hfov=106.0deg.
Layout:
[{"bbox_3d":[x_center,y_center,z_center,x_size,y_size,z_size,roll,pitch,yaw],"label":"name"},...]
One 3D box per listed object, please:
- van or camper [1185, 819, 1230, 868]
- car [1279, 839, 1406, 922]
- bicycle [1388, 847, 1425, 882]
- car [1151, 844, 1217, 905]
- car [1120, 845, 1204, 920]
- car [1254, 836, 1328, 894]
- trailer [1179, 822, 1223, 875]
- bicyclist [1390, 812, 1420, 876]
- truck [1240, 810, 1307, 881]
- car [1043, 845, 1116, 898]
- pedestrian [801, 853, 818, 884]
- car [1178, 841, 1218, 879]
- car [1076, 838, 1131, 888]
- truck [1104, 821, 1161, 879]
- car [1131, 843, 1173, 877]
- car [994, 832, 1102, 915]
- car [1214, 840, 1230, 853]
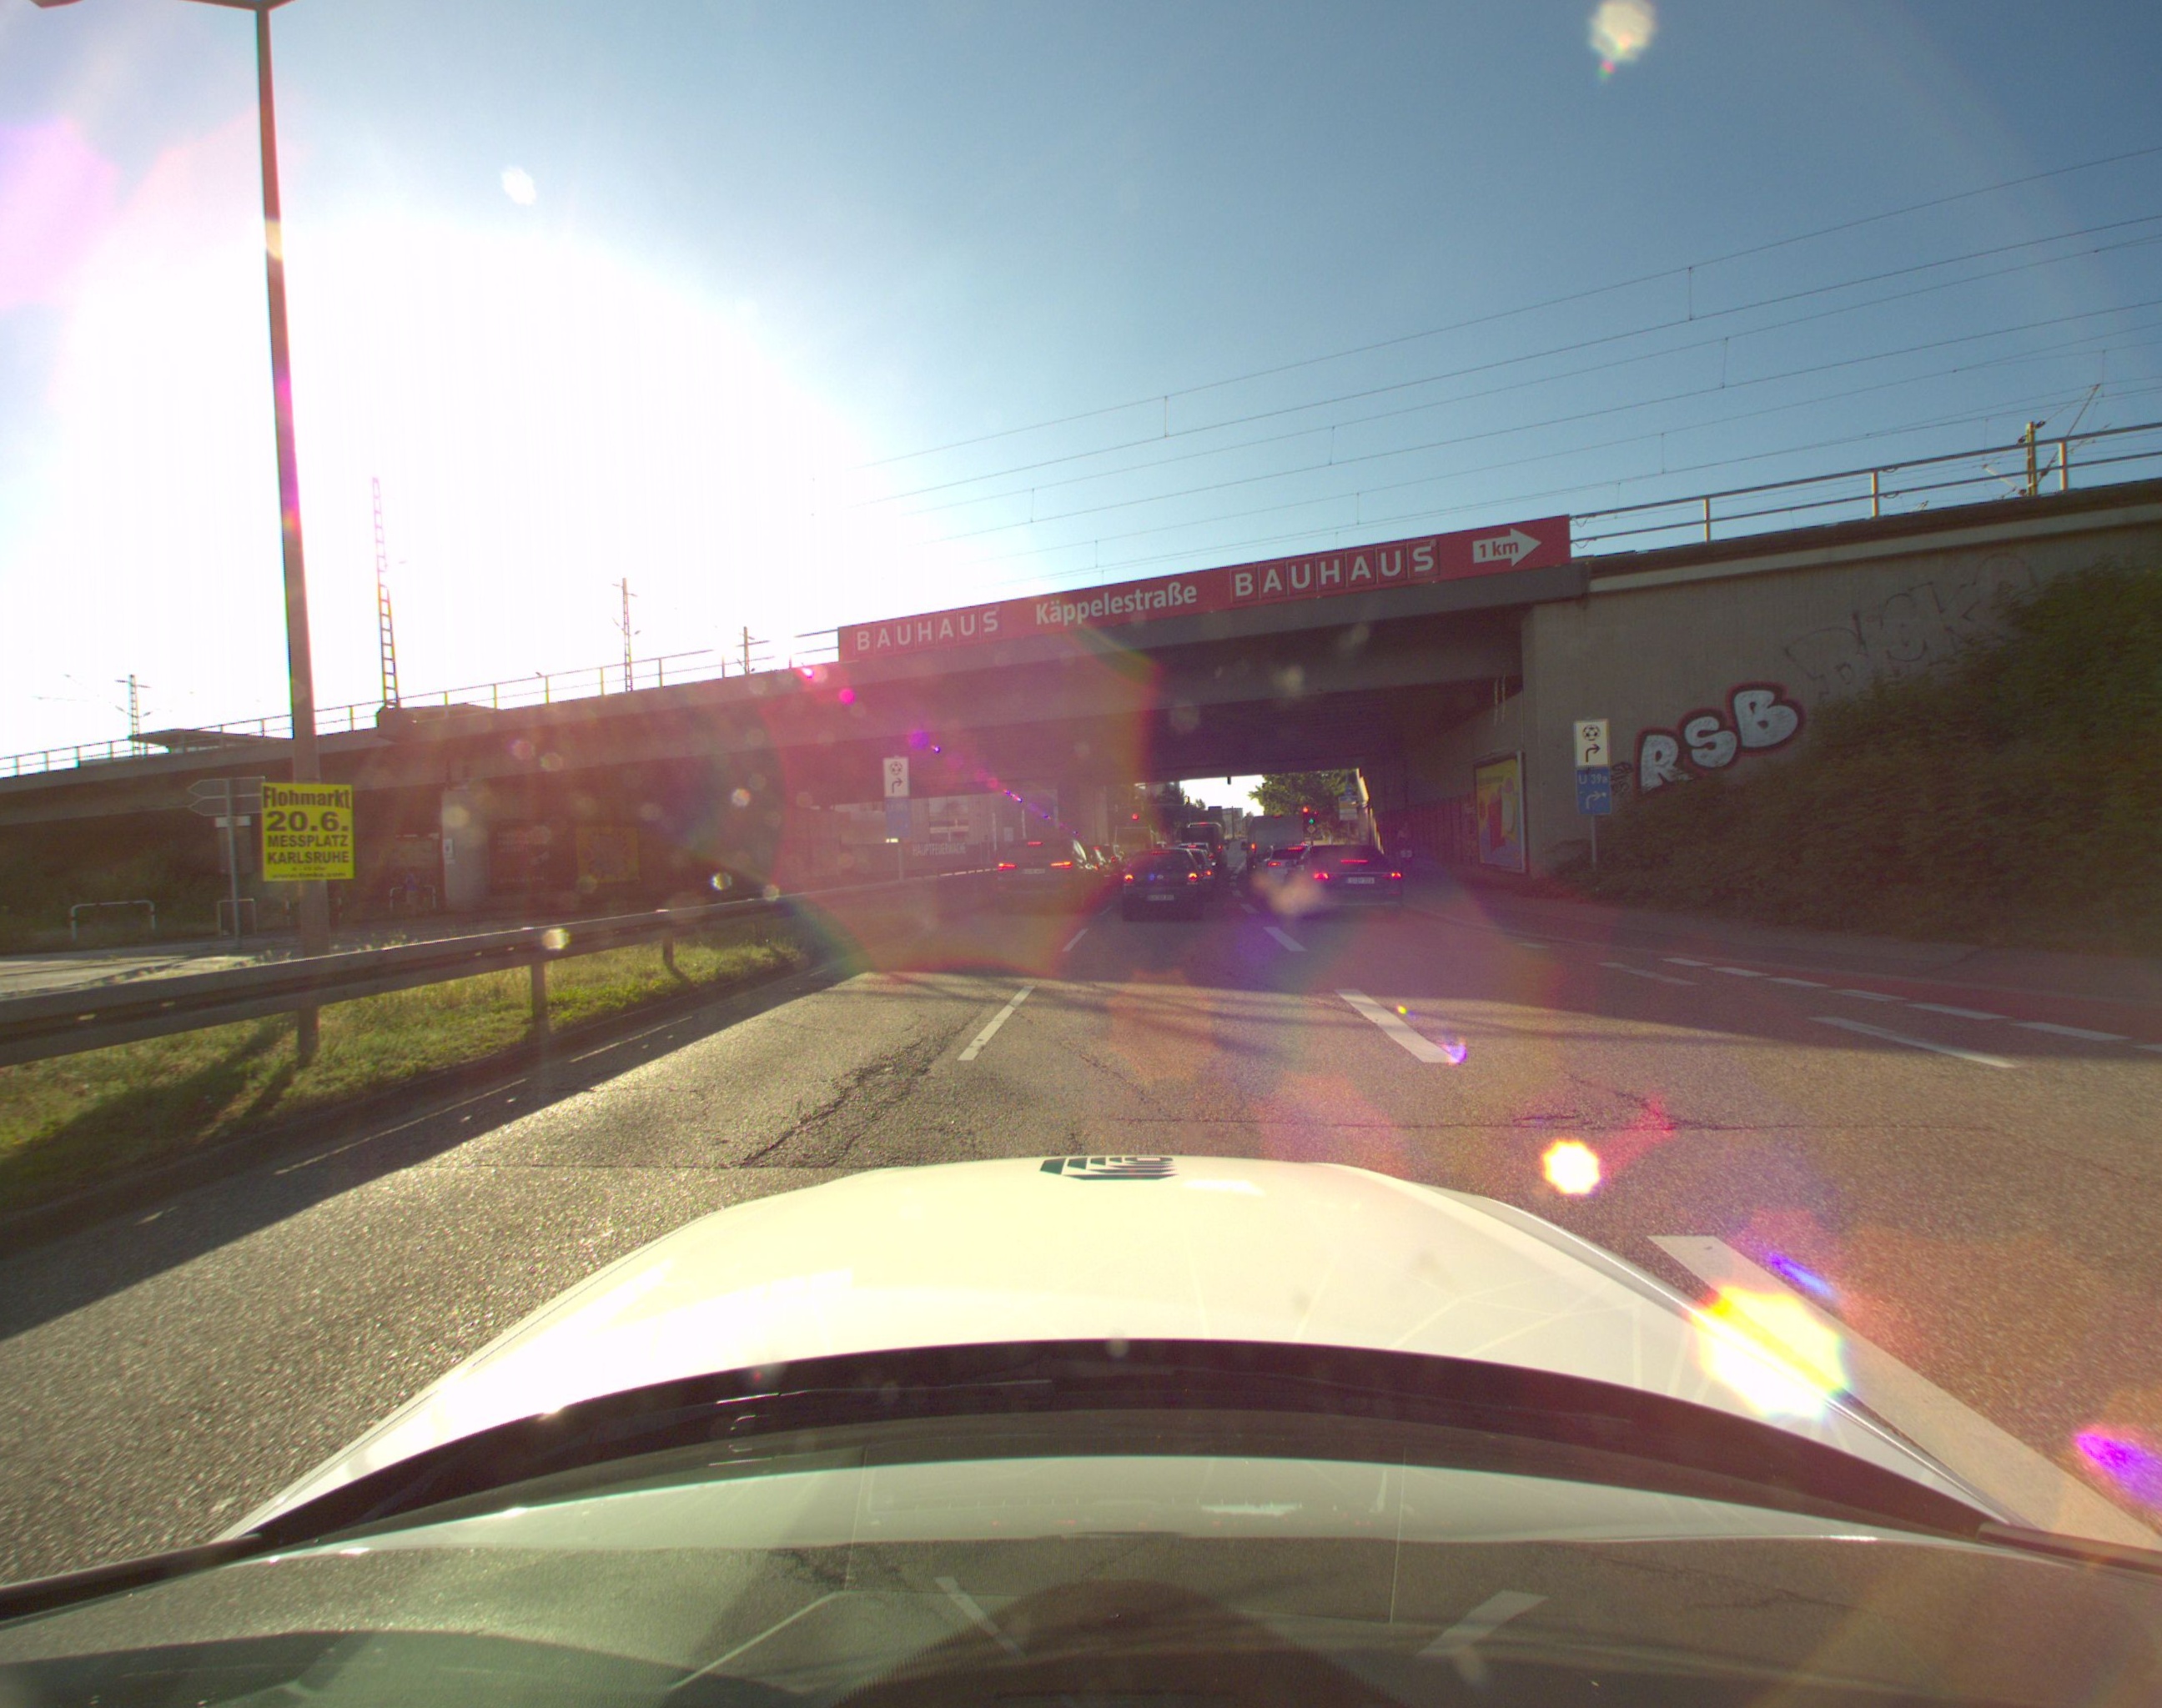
[{"bbox_3d":[7.373,-0.563,47.010,1.979,2.570,5.940,-2,-1,14],"label":"van or camper"},{"bbox_3d":[5.353,0.456,17.246,1.731,1.454,4.616,-2,1,7],"label":"car"},{"bbox_3d":[9.877,0.307,24.762,0.574,0.963,2.896,-2,-1,13],"label":"bicycle"},{"bbox_3d":[2.894,0.513,22.528,1.538,1.423,3.426,-5,0,9],"label":"car"},{"bbox_3d":[1.752,0.562,17.574,1.574,1.408,3.838,-2,-1,6],"label":"car"},{"bbox_3d":[6.238,0.318,24.569,1.762,1.495,3.842,-3,-1,9],"label":"car"},{"bbox_3d":[6.156,-0.248,41.565,1.852,2.465,3.844,-3,-1,11],"label":"trailer"},{"bbox_3d":[9.827,-0.299,24.713,0.677,1.907,0.836,-2,-1,12],"label":"bicyclist"},{"bbox_3d":[7.578,-0.299,32.419,2.099,2.519,4.411,-4,-1,8],"label":"truck"},{"bbox_3d":[0.026,0.551,26.446,1.831,1.440,3.682,-5,-1,7],"label":"car"},{"bbox_3d":[-16.952,0.928,50.859,0.689,1.903,0.667,-2,-1,12],"label":"pedestrian"},{"bbox_3d":[5.165,0.267,35.735,1.572,1.532,3.842,-2,-1,10],"label":"car"},{"bbox_3d":[0.964,0.347,32.359,1.833,1.719,4.005,-5,-1,5],"label":"car"},{"bbox_3d":[2.618,-0.168,40.060,2.015,2.556,5.553,-2,-1,11],"label":"truck"},{"bbox_3d":[4.330,0.356,49.311,1.980,1.901,4.013,-2,-1,12],"label":"car"},{"bbox_3d":[-0.675,0.447,20.054,1.819,1.738,4.471,-2,-1,7],"label":"car"},{"bbox_3d":[17.682,-0.915,101.926,1.789,1.604,4.012,-2,-1,11],"label":"car"}]
